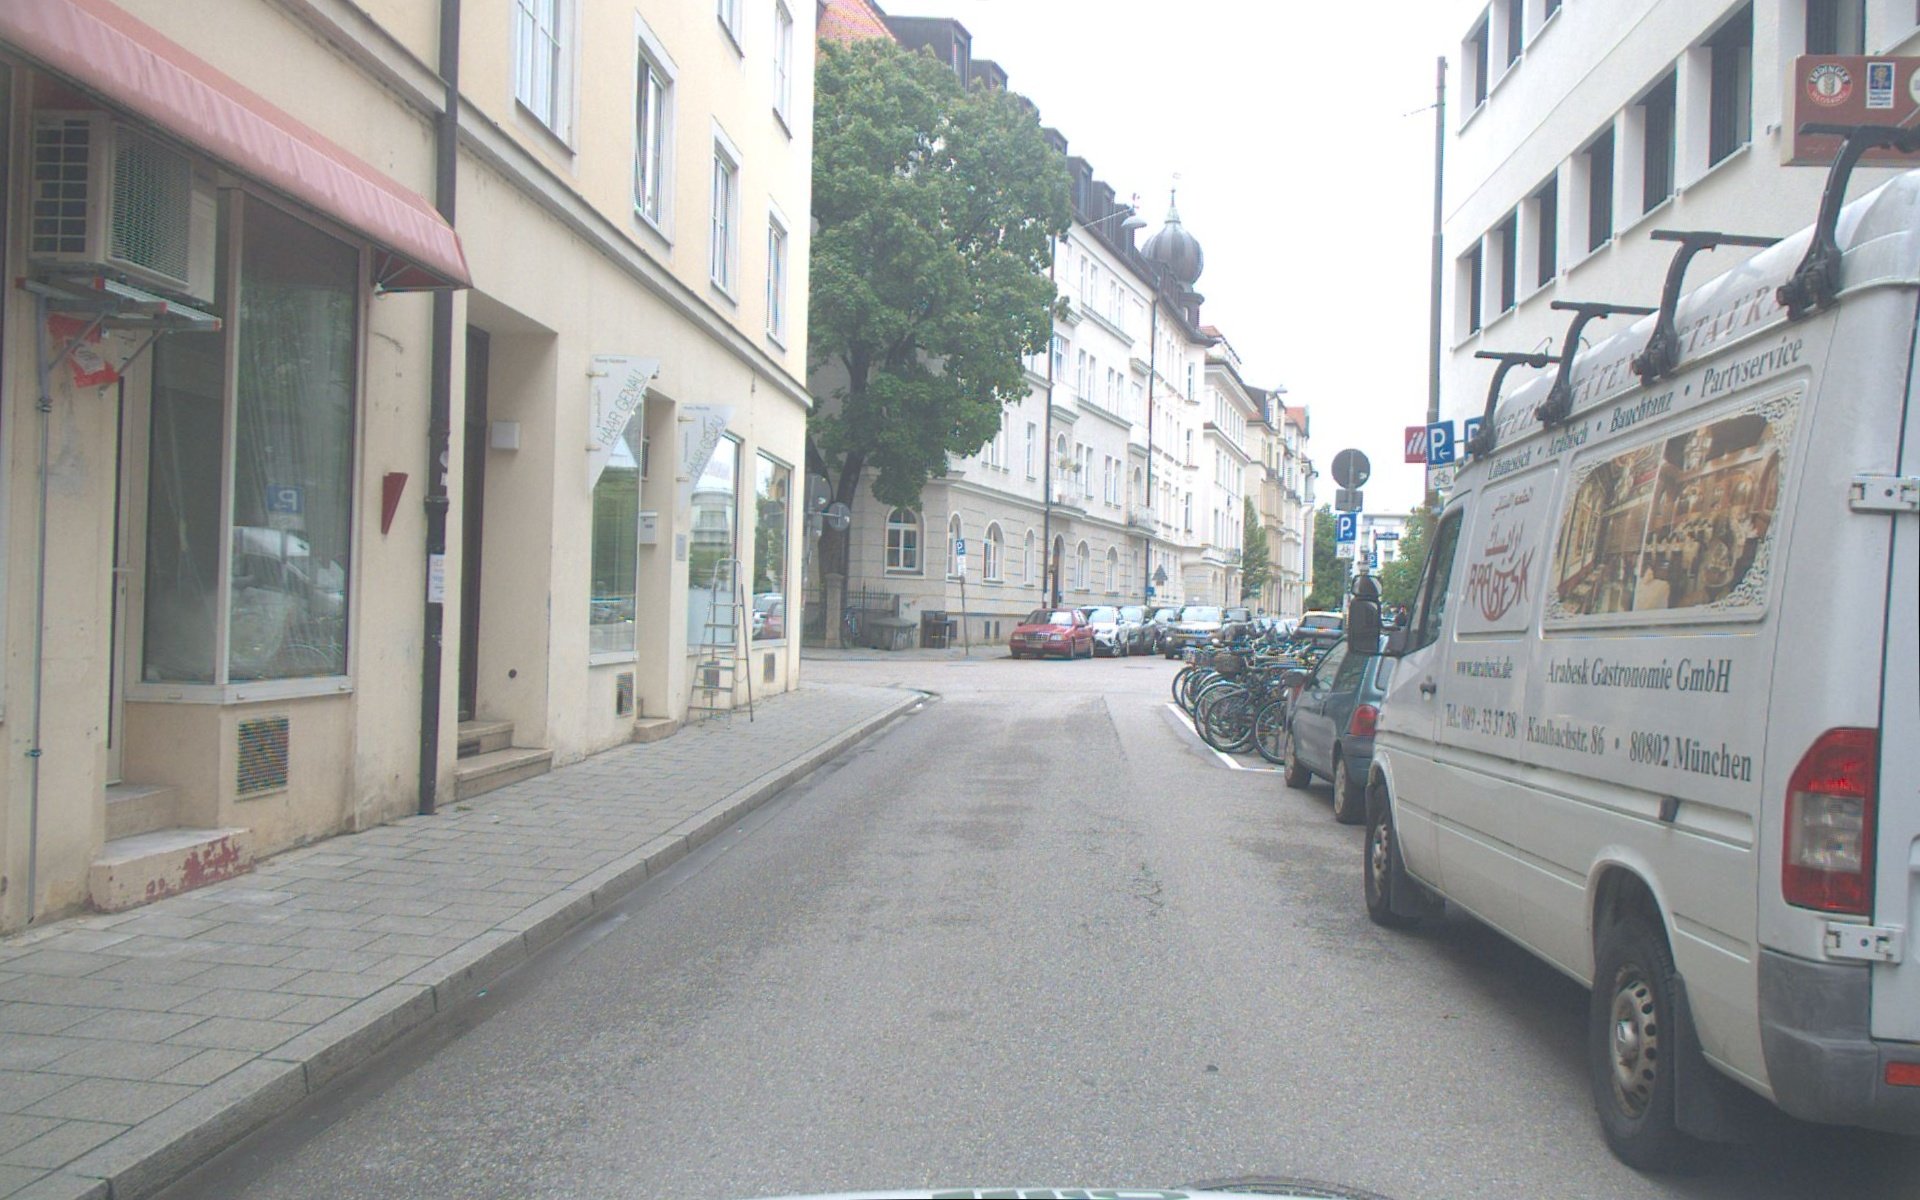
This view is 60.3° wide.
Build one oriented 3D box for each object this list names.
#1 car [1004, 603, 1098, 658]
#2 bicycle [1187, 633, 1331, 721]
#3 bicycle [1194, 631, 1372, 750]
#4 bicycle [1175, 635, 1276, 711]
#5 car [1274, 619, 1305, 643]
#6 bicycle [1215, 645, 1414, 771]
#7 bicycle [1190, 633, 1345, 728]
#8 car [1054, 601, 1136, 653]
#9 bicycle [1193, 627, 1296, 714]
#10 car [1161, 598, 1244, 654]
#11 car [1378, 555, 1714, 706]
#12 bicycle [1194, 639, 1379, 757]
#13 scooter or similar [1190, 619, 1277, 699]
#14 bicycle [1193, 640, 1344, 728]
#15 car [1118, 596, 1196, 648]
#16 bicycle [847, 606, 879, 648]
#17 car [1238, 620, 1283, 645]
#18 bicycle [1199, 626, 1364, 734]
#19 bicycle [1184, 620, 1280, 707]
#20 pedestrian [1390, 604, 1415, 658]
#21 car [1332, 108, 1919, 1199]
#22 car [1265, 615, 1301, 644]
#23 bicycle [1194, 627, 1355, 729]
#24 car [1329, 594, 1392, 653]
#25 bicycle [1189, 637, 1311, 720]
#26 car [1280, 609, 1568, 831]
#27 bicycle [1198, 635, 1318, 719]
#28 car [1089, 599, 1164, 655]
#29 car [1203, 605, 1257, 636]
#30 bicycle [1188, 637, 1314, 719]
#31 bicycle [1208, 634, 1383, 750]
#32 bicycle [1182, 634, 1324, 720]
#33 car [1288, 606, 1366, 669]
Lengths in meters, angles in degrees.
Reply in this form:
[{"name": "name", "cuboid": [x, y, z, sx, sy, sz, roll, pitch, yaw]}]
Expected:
[{"name": "car", "cuboid": [2.585, 0.835, 46.044, 1.694, 1.402, 4.229, 2, 0, 16]}, {"name": "bicycle", "cuboid": [3.998, 1.029, 22.143, 1.835, 1.098, 0.402, 2, 1, 1]}, {"name": "bicycle", "cuboid": [3.539, 0.986, 18.178, 1.835, 1.225, 0.488, 2, 1, 2]}, {"name": "bicycle", "cuboid": [4.021, 1.100, 25.063, 1.422, 1.088, 0.463, 2, 0, -4]}, {"name": "car", "cuboid": [20.836, 1.945, 104.548, 1.697, 1.444, 4.003, 2, 0, 14]}, {"name": "bicycle", "cuboid": [3.544, 1.071, 16.595, 1.835, 1.098, 0.488, 4, 1, 2]}, {"name": "bicycle", "cuboid": [3.844, 1.006, 20.749, 1.835, 1.114, 0.440, 2, 1, 1]}, {"name": "car", "cuboid": [4.203, 0.818, 50.945, 1.951, 1.499, 4.222, 2, 0, 12]}, {"name": "bicycle", "cuboid": [4.225, 1.038, 24.596, 1.422, 1.229, 0.395, 2, 0, -4]}, {"name": "car", "cuboid": [7.550, 0.785, 51.191, 1.916, 1.636, 4.311, 1, 0, 16]}, {"name": "car", "cuboid": [11.149, 0.541, 31.917, 5.768, 2.636, 2.061, 2, 1, 9]}, {"name": "bicycle", "cuboid": [3.475, 1.038, 17.660, 1.835, 1.127, 0.488, 3, 1, 2]}, {"name": "scooter or similar", "cuboid": [4.433, 0.953, 26.847, 1.324, 1.231, 0.418, 2, 0, 6]}, {"name": "bicycle", "cuboid": [3.986, 1.083, 21.444, 1.835, 1.070, 0.564, 1, -2, 1]}, {"name": "car", "cuboid": [7.265, 0.804, 60.658, 1.952, 1.769, 4.523, 2, 0, 18]}, {"name": "bicycle", "cuboid": [-2.651, 0.721, 45.304, 0.483, 1.071, 1.829, 2, 2, 9]}, {"name": "car", "cuboid": [15.956, 1.704, 87.692, 1.866, 1.243, 4.002, 2, 0, 16]}, {"name": "bicycle", "cuboid": [3.791, 0.935, 19.579, 1.835, 1.225, 0.580, 1, 0, 2]}, {"name": "bicycle", "cuboid": [4.277, 0.994, 26.058, 1.426, 1.308, 0.445, 2, 0, 5]}, {"name": "pedestrian", "cuboid": [15.758, 1.108, 58.852, 0.762, 1.883, 1.023, 1, 0, 18]}, {"name": "car", "cuboid": [2.944, 0.297, 6.387, 1.880, 2.549, 5.999, 3, 0, 3]}, {"name": "car", "cuboid": [19.298, 1.756, 98.786, 1.782, 1.601, 4.003, 2, 0, 15]}, {"name": "bicycle", "cuboid": [3.822, 0.942, 20.206, 1.854, 1.190, 0.566, 1, 0, 1]}, {"name": "car", "cuboid": [14.263, 0.847, 58.709, 1.782, 1.903, 4.290, 4, 0, 17]}, {"name": "bicycle", "cuboid": [4.097, 1.108, 23.404, 1.640, 1.098, 0.336, 2, 1, 1]}, {"name": "car", "cuboid": [3.578, 0.843, 13.318, 1.547, 1.489, 3.554, 2, 0, 5]}, {"name": "bicycle", "cuboid": [4.138, 1.067, 23.015, 1.579, 1.098, 0.378, 2, 1, 1]}, {"name": "car", "cuboid": [5.633, 0.890, 55.502, 1.901, 1.732, 4.003, 2, 0, 14]}, {"name": "car", "cuboid": [12.532, 0.964, 76.676, 1.867, 1.352, 4.001, 2, 0, 18]}, {"name": "bicycle", "cuboid": [4.180, 1.114, 23.813, 1.704, 1.098, 0.452, 2, 1, 1]}, {"name": "bicycle", "cuboid": [3.804, 1.035, 18.843, 1.835, 1.177, 0.565, 3, 1, 2]}, {"name": "bicycle", "cuboid": [3.993, 1.041, 22.584, 1.835, 1.098, 0.408, 2, 1, 1]}, {"name": "car", "cuboid": [10.851, 1.081, 48.675, 1.782, 1.664, 4.290, 4, 0, 17]}]
